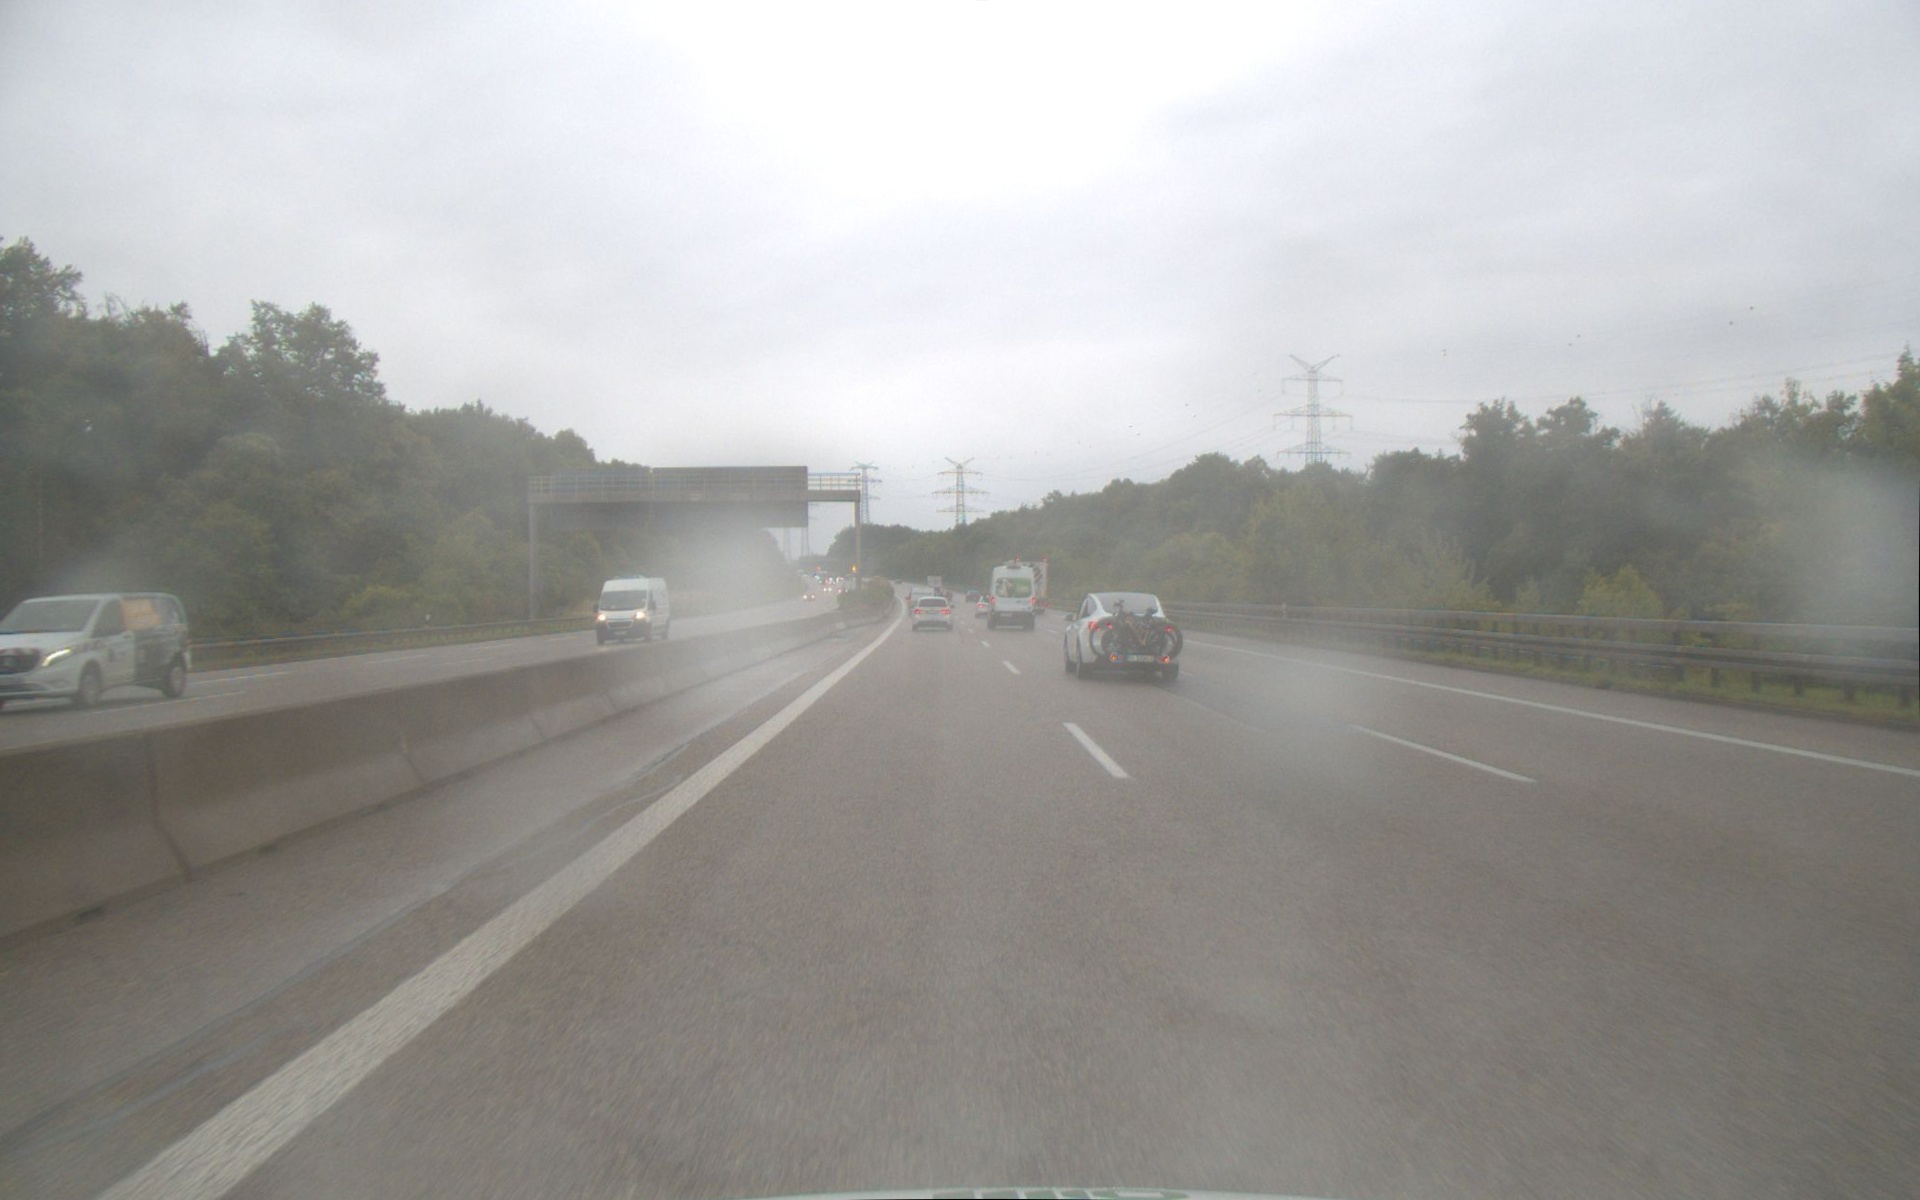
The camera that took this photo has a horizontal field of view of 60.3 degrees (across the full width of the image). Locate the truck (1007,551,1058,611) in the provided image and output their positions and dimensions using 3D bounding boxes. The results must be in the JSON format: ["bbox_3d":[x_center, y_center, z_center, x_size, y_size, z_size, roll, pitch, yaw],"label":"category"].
[{"bbox_3d":[5.598,-1.457,130.276,3.529,4.408,13.200,0,0,0],"label":"truck"}]

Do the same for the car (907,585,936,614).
[{"bbox_3d":[-2.432,-0.040,104.891,1.808,1.803,3.999,1,0,-1],"label":"car"}]

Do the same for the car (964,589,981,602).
[{"bbox_3d":[1.556,-0.584,206.617,1.953,1.512,3.999,-2,0,-2],"label":"car"}]

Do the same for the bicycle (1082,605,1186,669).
[{"bbox_3d":[3.062,0.645,29.178,1.718,1.110,0.913,0,-1,-2],"label":"bicycle"}]

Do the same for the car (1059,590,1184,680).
[{"bbox_3d":[3.051,0.610,32.143,1.823,1.595,4.962,1,0,-1],"label":"car"}]

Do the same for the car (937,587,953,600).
[{"bbox_3d":[-1.997,-0.804,213.511,1.953,1.601,3.999,-1,0,-1],"label":"car"}]

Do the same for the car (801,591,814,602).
[{"bbox_3d":[-22.142,-0.503,240.447,1.827,1.467,3.995,-1,0,-6],"label":"car"}]

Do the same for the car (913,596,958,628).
[{"bbox_3d":[-1.068,0.486,70.771,1.829,1.310,3.999,-1,0,-1],"label":"car"}]

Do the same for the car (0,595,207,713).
[{"bbox_3d":[-15.546,0.907,30.000,1.706,1.937,4.529,-1,0,-1],"label":"car"}]

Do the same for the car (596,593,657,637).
[{"bbox_3d":[-17.491,0.739,87.074,1.953,2.206,6.415,-1,0,-1],"label":"car"}]

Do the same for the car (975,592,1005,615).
[{"bbox_3d":[1.931,0.204,108.022,1.819,1.447,4.000,0,1,-1],"label":"car"}]

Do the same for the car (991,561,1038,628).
[{"bbox_3d":[2.404,-0.233,74.204,1.953,2.914,4.000,1,0,0],"label":"car"}]

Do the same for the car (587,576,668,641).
[{"bbox_3d":[-12.995,0.307,64.999,2.231,2.372,6.170,-1,0,-3],"label":"car"}]
